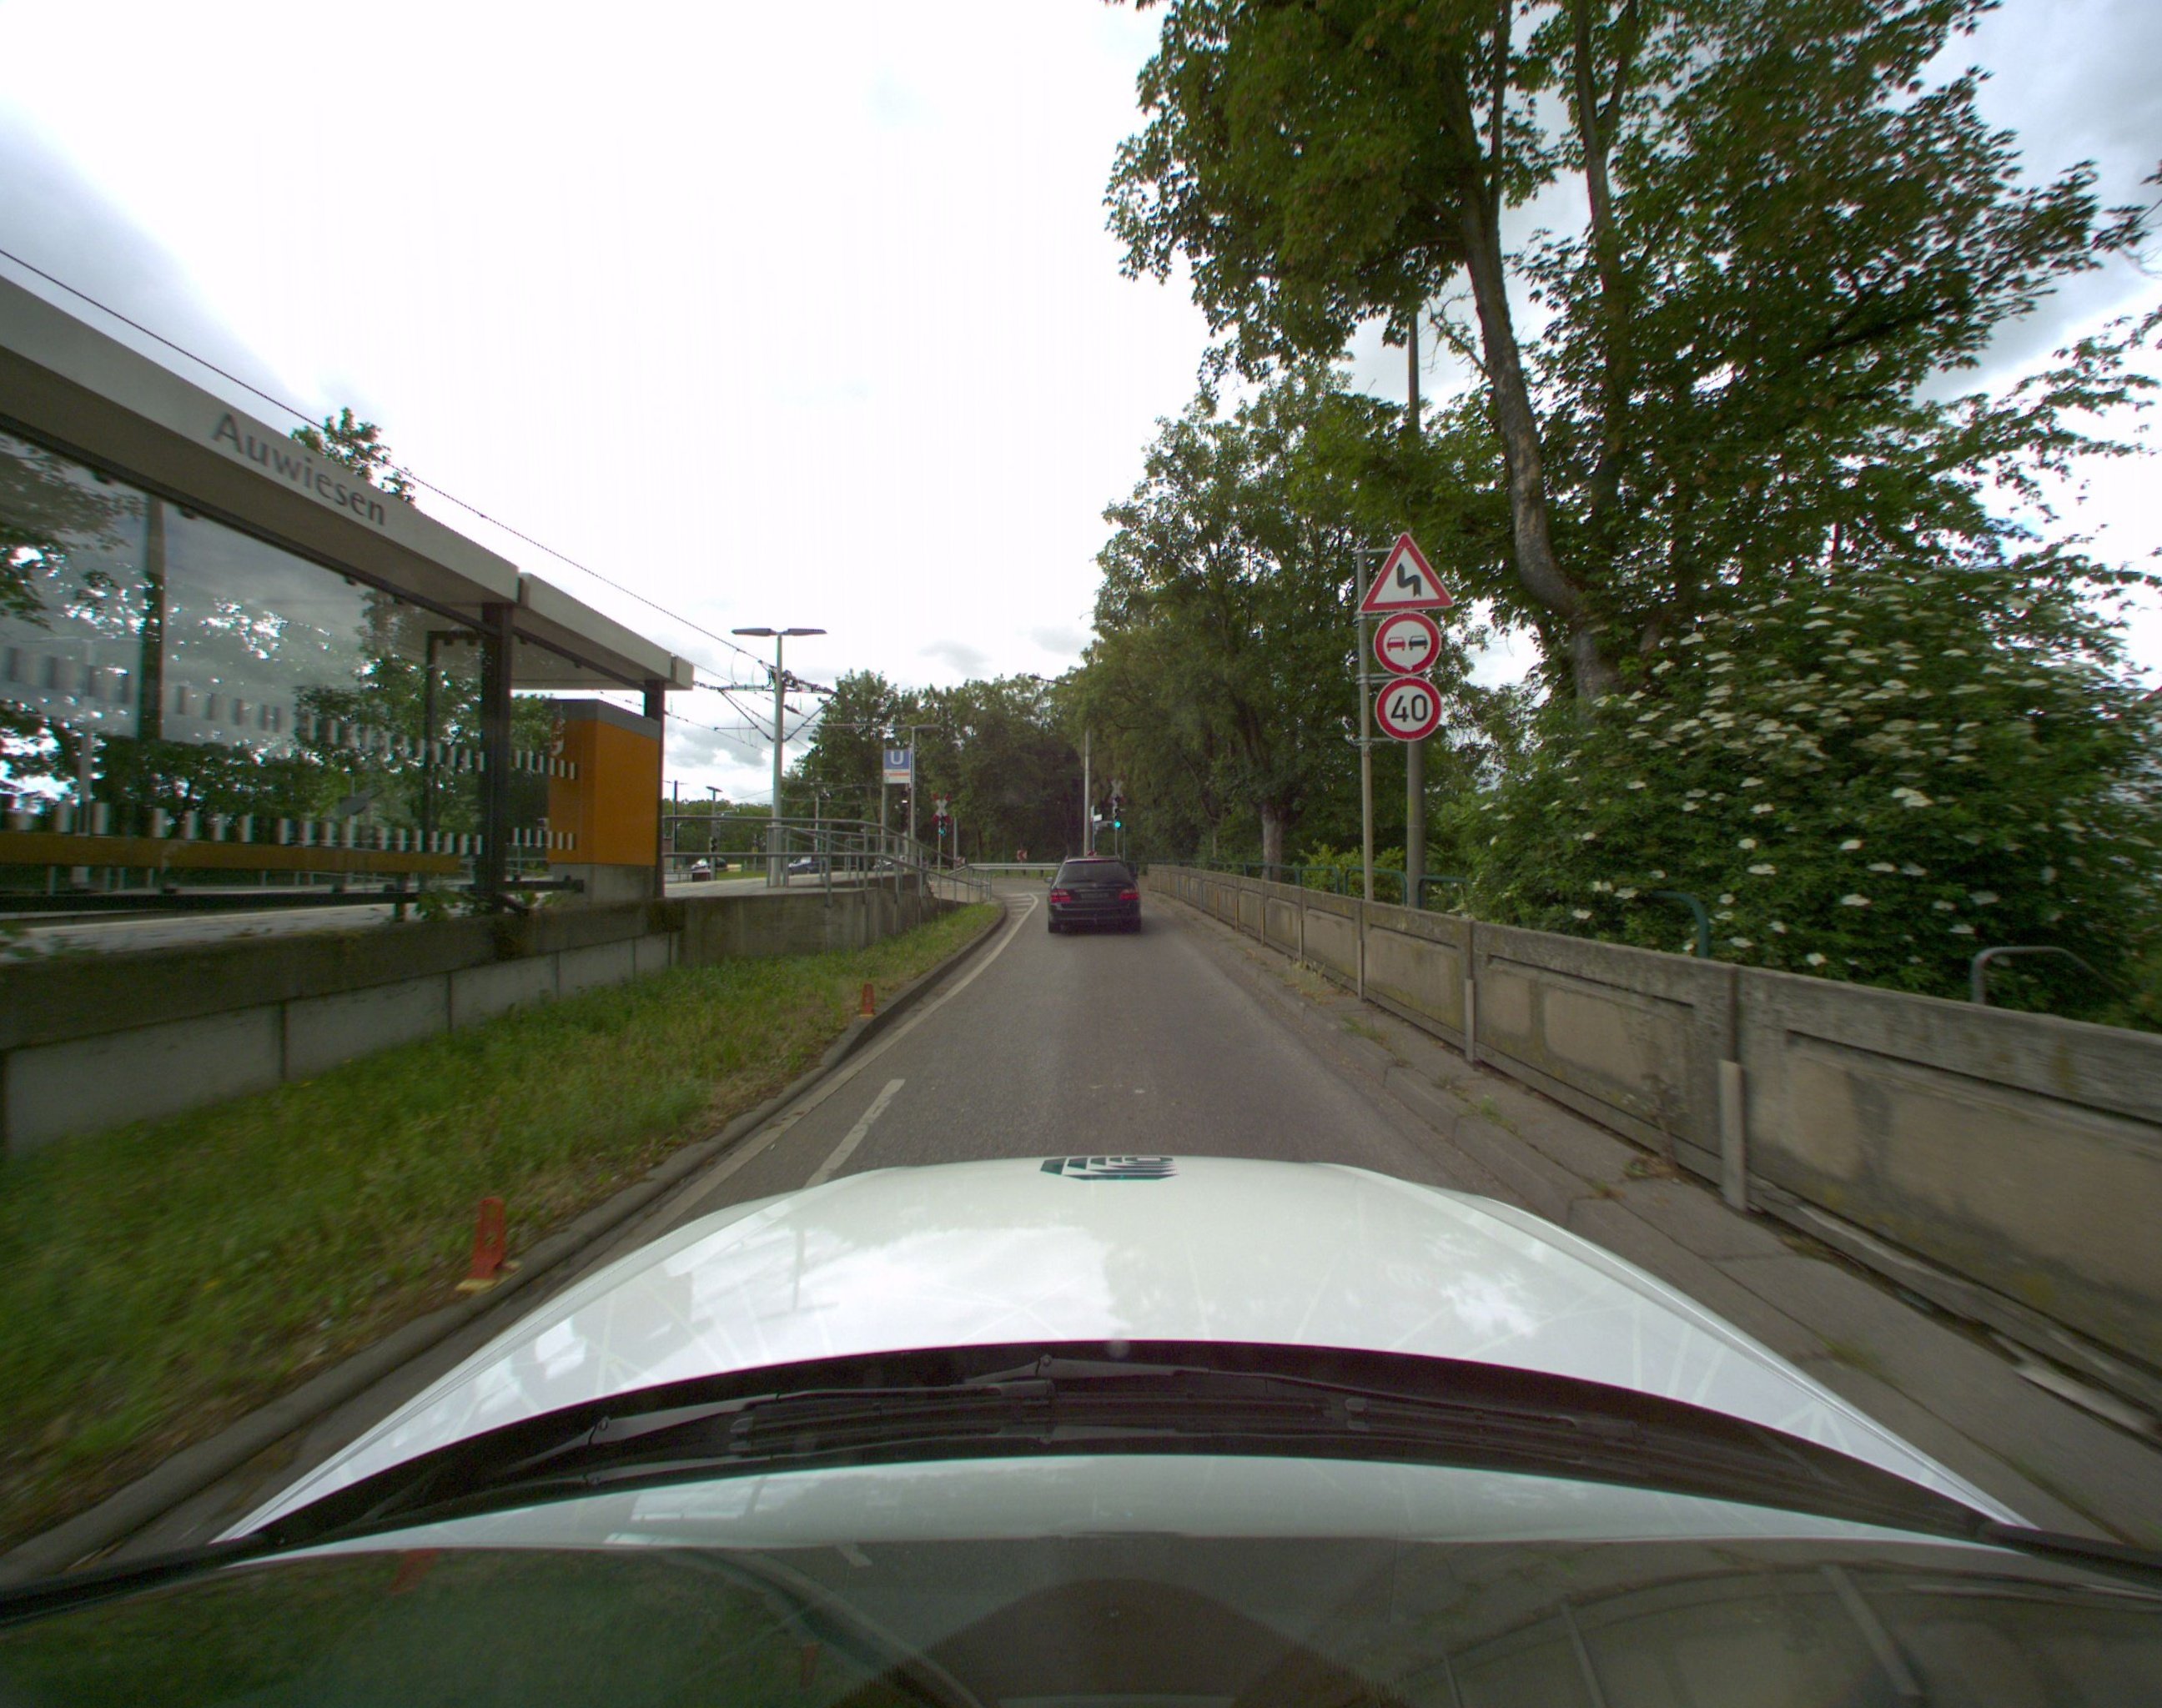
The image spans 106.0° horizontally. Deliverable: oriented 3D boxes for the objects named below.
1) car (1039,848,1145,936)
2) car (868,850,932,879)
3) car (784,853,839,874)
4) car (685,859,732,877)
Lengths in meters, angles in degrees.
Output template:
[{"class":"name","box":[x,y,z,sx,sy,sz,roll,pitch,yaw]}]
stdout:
[{"class":"car","box":[0.107,0.668,16.684,1.779,1.525,3.994,-2,0,-5]},{"class":"car","box":[-10.535,0.584,47.309,1.798,1.648,3.951,0,0,-44]},{"class":"car","box":[-18.507,0.631,55.837,3.950,1.399,2.012,0,0,44]},{"class":"car","box":[-30.187,1.114,65.919,3.949,1.399,2.012,0,0,40]}]
